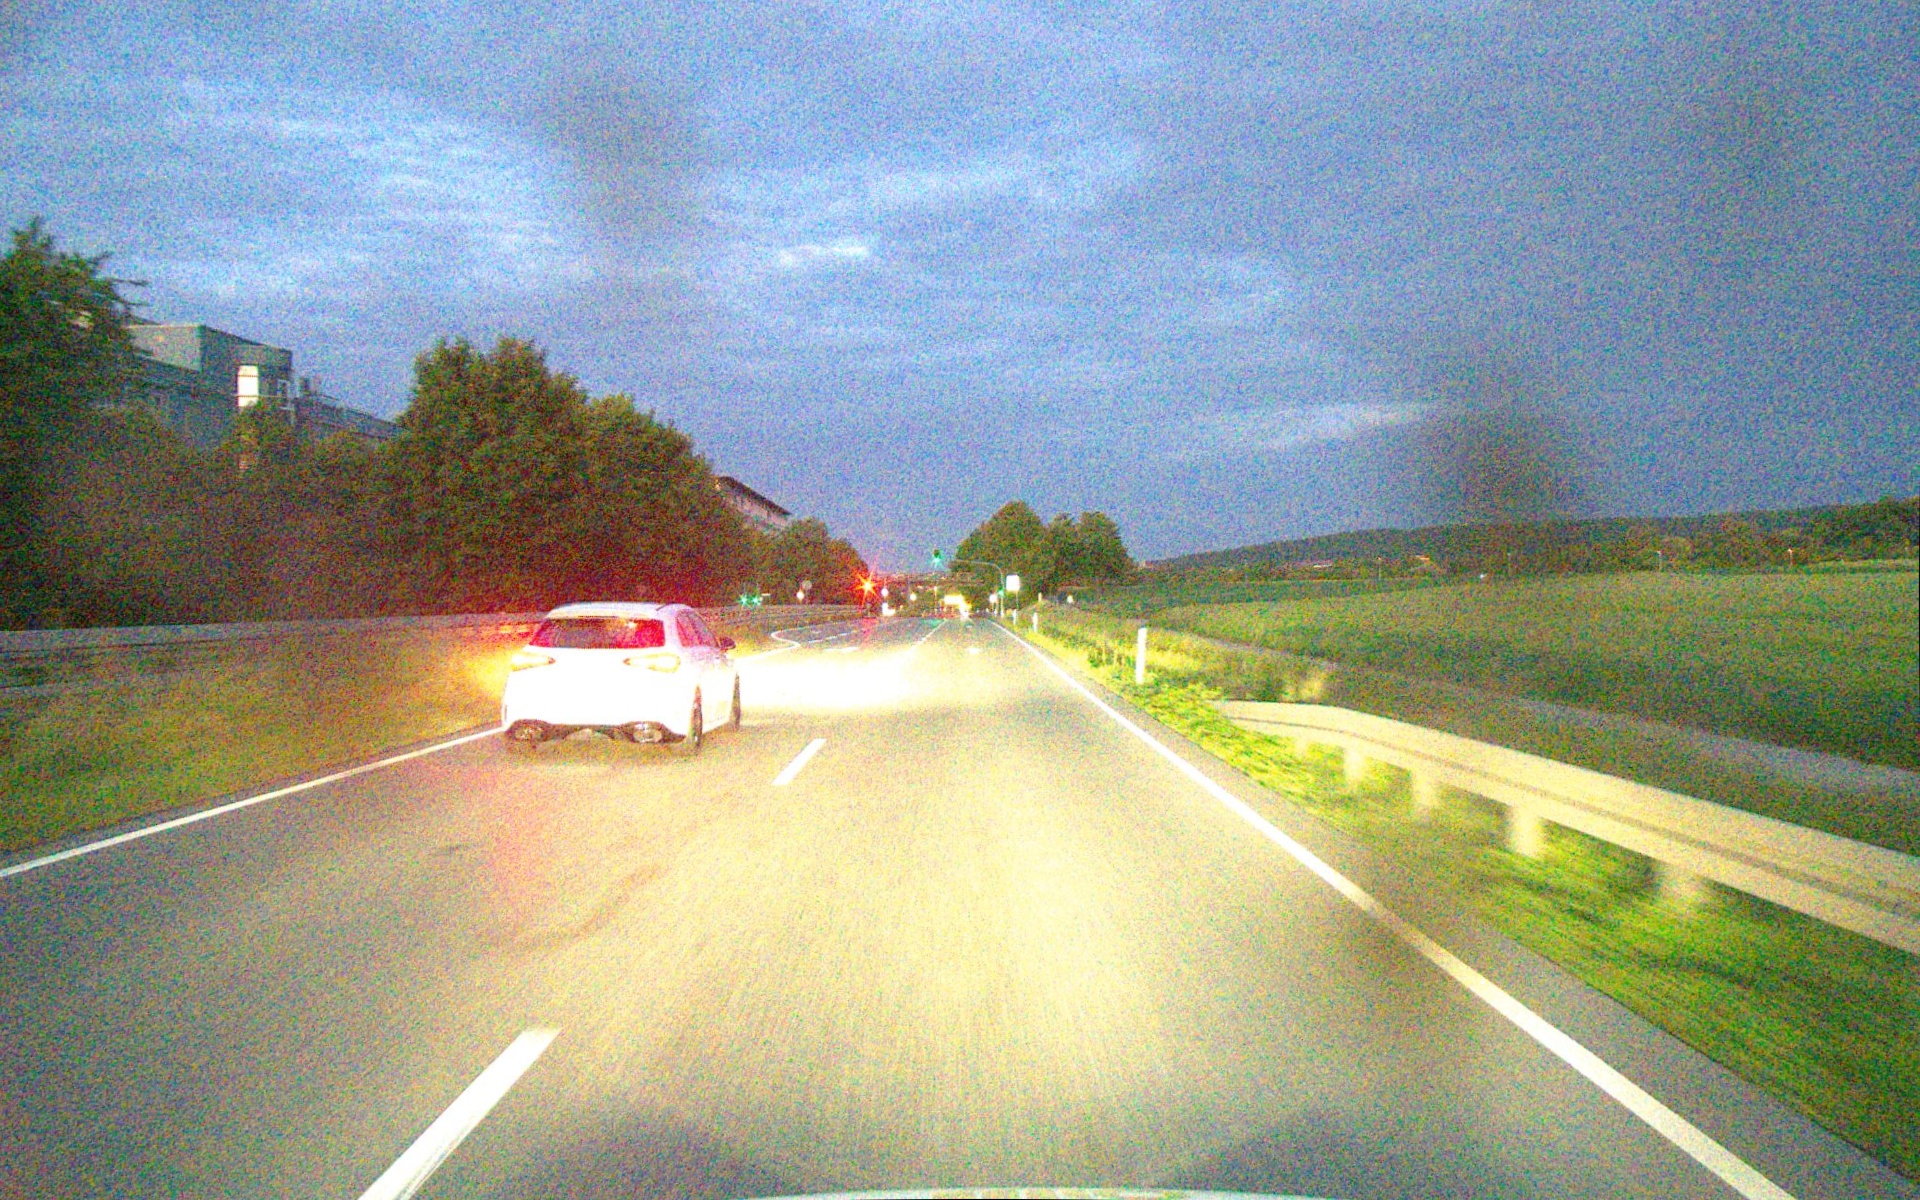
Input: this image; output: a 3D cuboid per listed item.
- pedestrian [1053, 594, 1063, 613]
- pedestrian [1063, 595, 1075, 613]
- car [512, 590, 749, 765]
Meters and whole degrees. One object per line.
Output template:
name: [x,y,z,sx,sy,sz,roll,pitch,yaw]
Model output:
pedestrian: [9.498,0.323,160.771,0.903,1.824,1.106,1,0,0]
pedestrian: [10.618,0.354,160.943,1.068,1.753,1.260,1,-1,-1]
car: [-3.174,0.673,16.767,1.609,1.516,4.578,1,0,-2]
